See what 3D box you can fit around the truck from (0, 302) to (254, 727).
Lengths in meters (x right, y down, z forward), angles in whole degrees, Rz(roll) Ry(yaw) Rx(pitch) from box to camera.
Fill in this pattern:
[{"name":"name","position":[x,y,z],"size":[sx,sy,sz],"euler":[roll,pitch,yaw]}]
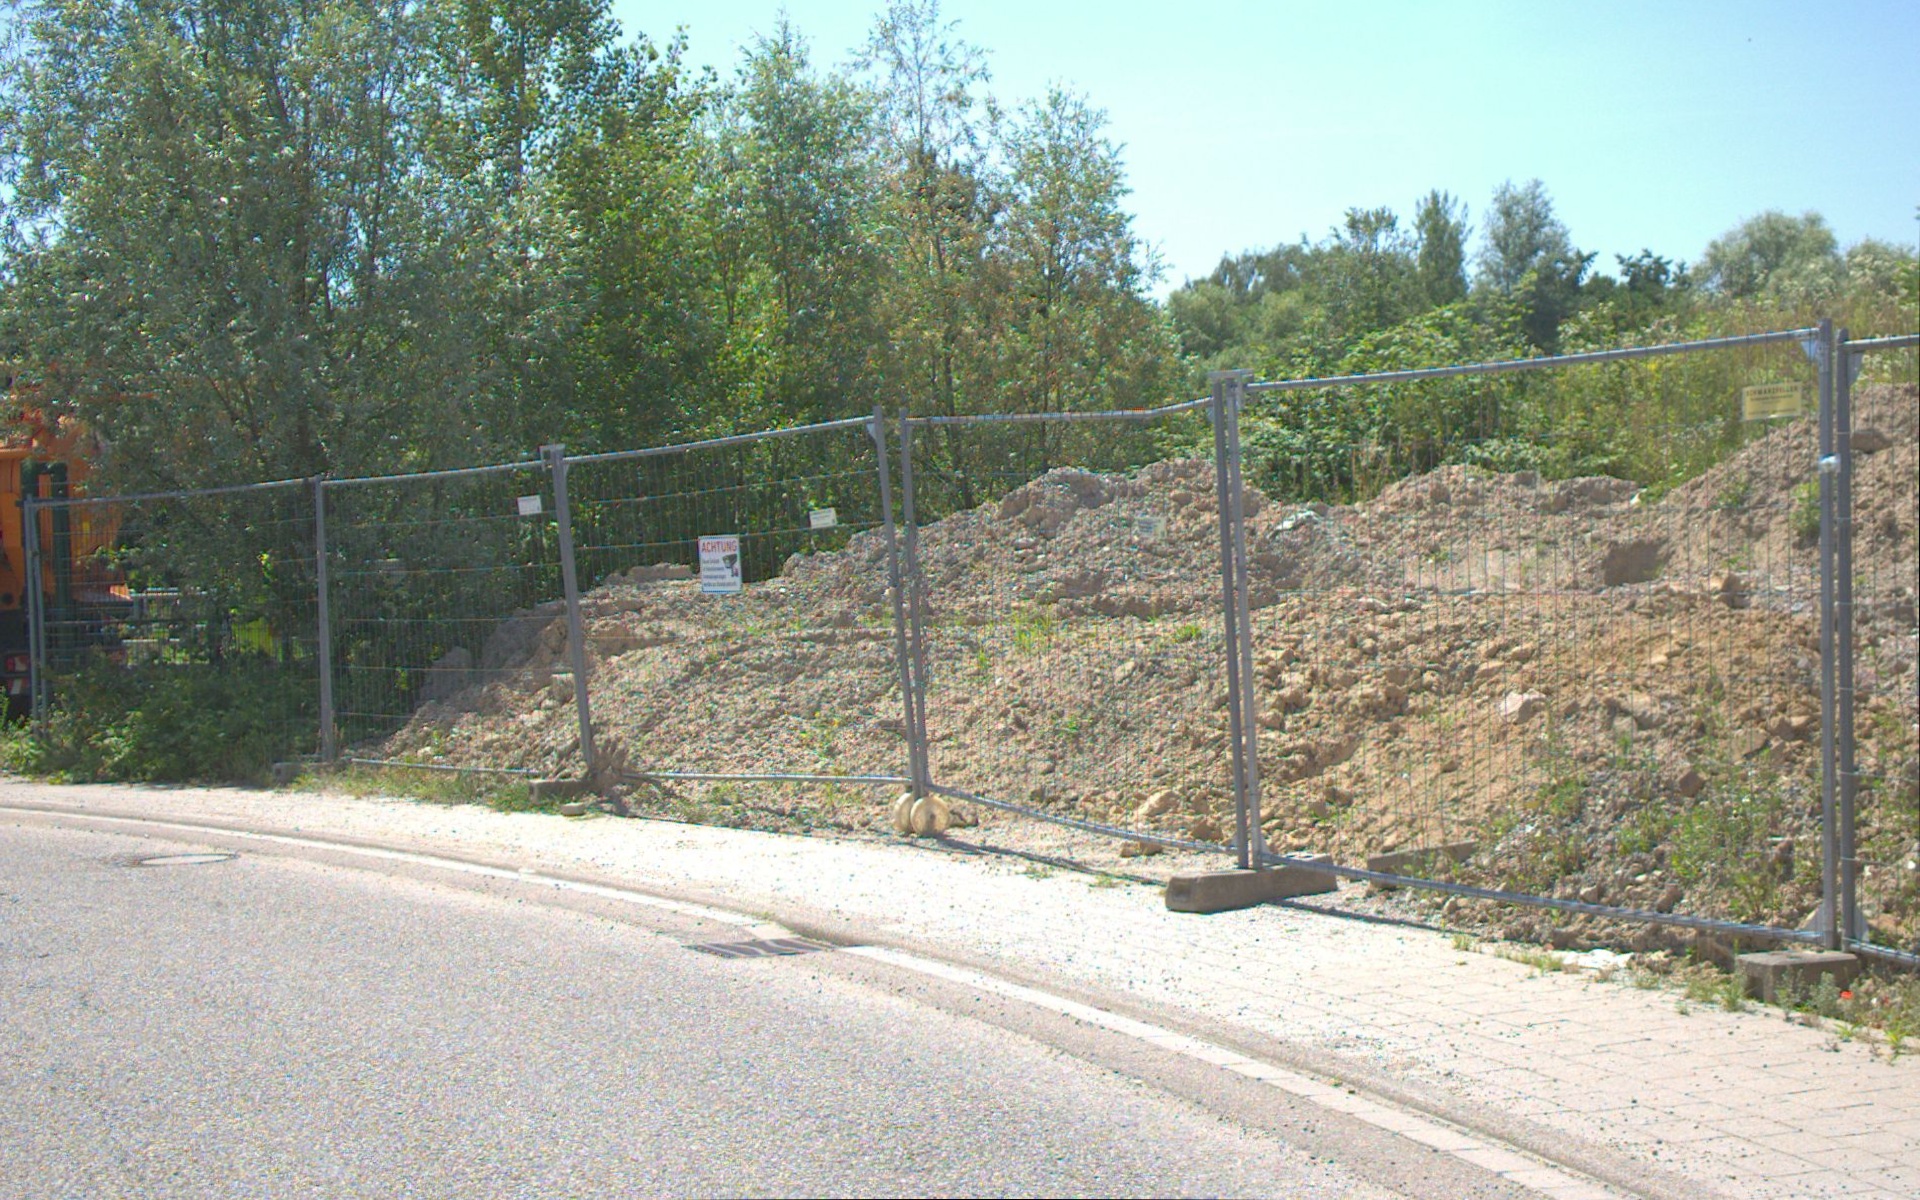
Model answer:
[{"name":"truck","position":[-11.899,-0.716,33.854],"size":[8.589,3.793,4.162],"euler":[-2,2,15]}]

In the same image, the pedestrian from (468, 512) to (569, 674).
[{"name":"pedestrian","position":[-5.066,-0.083,39.493],"size":[0.877,1.818,0.739],"euler":[-1,2,18]}]
